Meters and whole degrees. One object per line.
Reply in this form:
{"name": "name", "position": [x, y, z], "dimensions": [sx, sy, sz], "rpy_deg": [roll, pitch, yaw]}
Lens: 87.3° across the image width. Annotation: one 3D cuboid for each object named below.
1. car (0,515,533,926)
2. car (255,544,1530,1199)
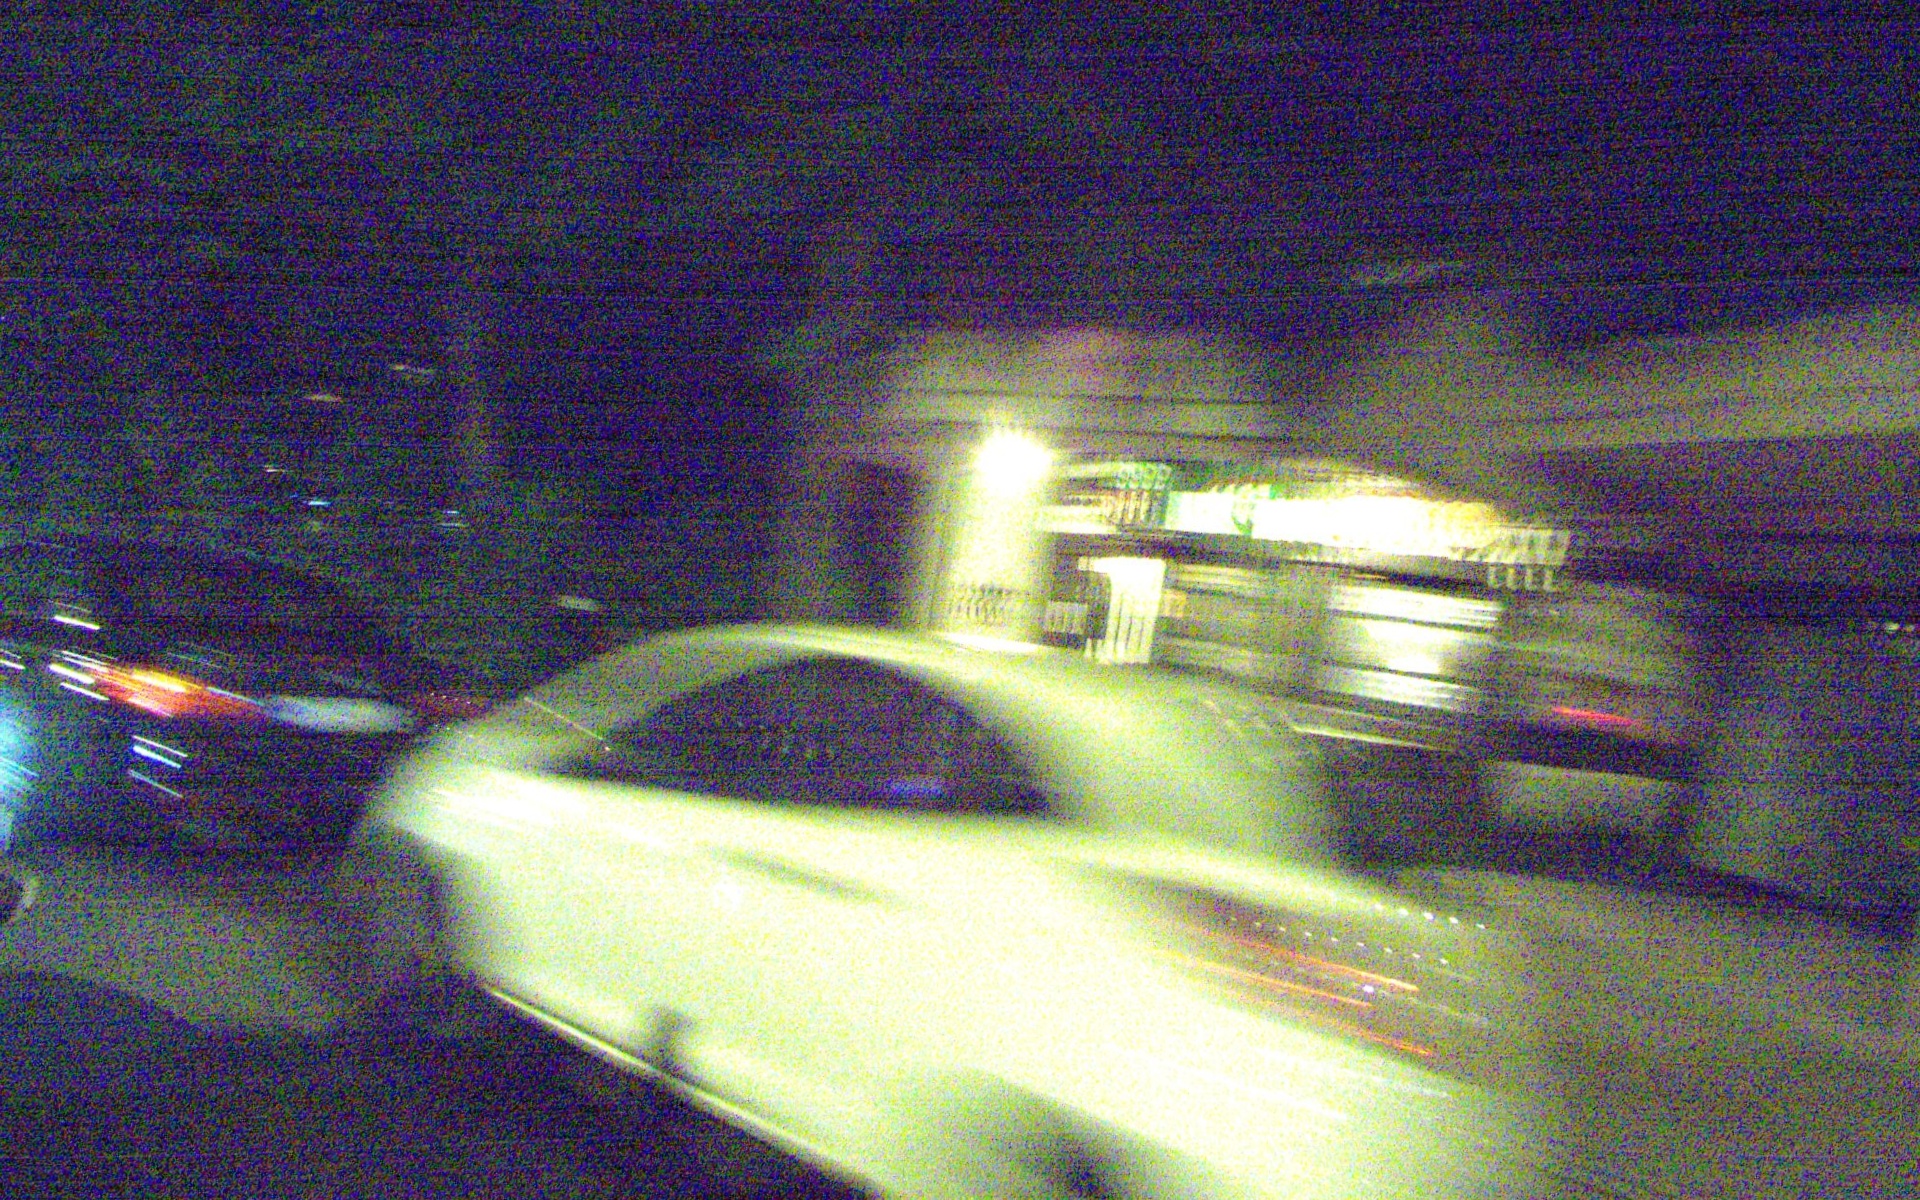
{"name": "car", "position": [-4.616, 0.361, 5.586], "dimensions": [4.365, 1.432, 1.766], "rpy_deg": [7, -2, 31]}
{"name": "car", "position": [-0.385, 0.810, 3.255], "dimensions": [3.713, 1.483, 1.642], "rpy_deg": [7, -2, 32]}
